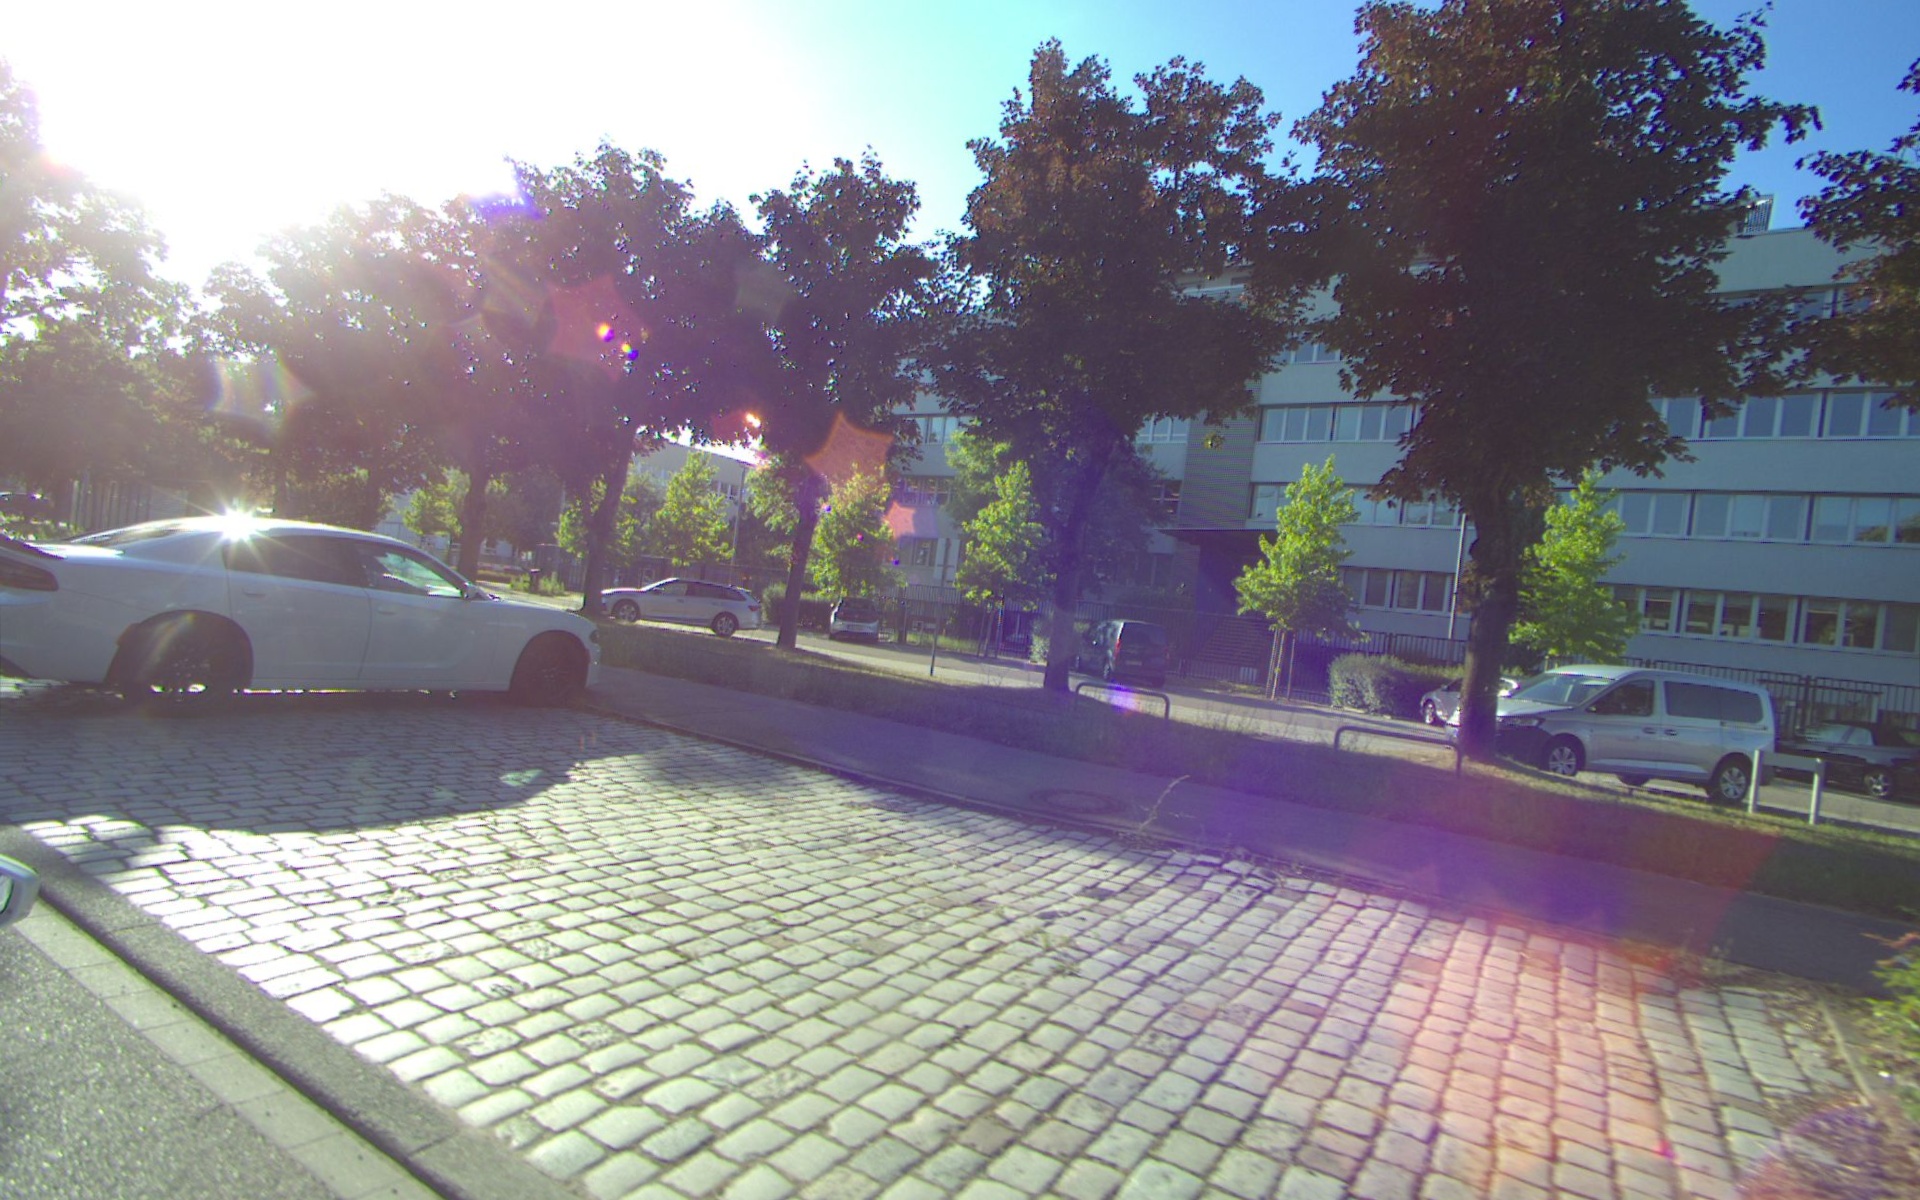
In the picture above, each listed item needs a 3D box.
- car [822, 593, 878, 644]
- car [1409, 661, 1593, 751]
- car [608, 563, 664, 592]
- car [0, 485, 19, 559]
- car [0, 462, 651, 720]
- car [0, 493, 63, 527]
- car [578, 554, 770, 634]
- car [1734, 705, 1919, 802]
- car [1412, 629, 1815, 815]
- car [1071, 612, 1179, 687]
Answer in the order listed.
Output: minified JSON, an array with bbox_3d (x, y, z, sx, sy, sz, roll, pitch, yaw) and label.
[{"bbox_3d":[-3.978,0.611,36.614,1.736,1.546,4.299,7,0,-6],"label":"car"},{"bbox_3d":[12.964,2.481,24.461,1.774,1.547,4.310,7,0,-3],"label":"car"},{"bbox_3d":[-22.091,-1.536,68.602,3.767,1.549,1.618,7,0,36],"label":"car"},{"bbox_3d":[-21.772,-1.801,19.978,1.973,1.498,4.347,6,1,43],"label":"car"},{"bbox_3d":[-5.549,0.019,8.922,2.121,1.593,5.183,7,0,30],"label":"car"},{"bbox_3d":[-59.912,-5.829,63.534,2.027,1.726,4.431,7,0,35],"label":"car"},{"bbox_3d":[-7.986,-0.148,28.290,4.880,1.593,1.992,7,0,-18],"label":"car"},{"bbox_3d":[18.484,3.149,20.597,1.776,1.370,3.995,7,0,-7],"label":"car"},{"bbox_3d":[9.698,1.785,15.108,4.873,1.957,1.996,8,0,-10],"label":"car"},{"bbox_3d":[4.858,1.417,30.275,1.737,1.771,4.488,7,0,-8],"label":"car"}]
